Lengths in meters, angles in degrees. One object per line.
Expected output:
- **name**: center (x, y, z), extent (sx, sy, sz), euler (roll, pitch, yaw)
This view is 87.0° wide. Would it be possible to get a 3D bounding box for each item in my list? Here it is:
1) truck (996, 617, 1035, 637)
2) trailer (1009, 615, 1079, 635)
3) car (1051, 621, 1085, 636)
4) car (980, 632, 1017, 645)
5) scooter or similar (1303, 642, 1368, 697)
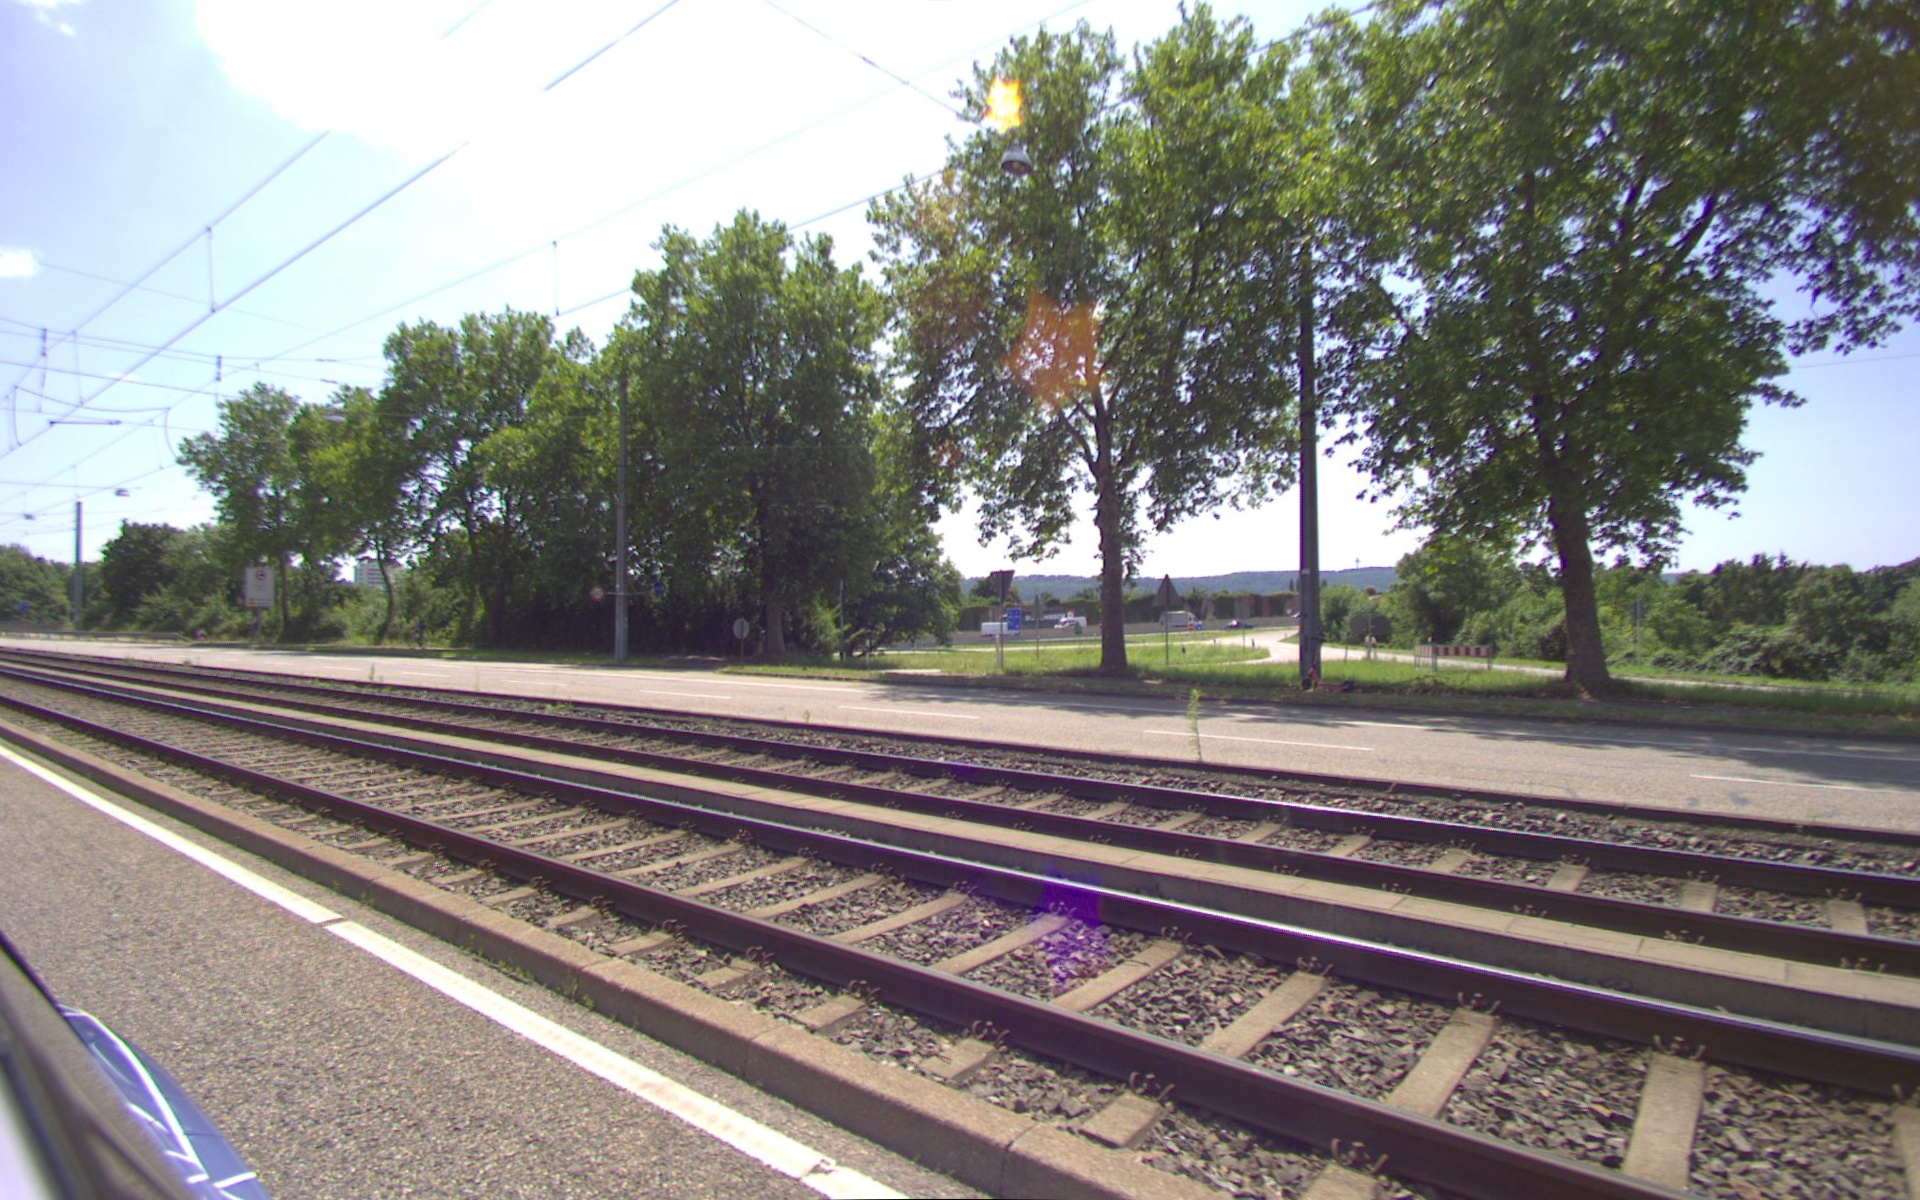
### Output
- **truck**: center (9.870, 4.766, 180.332), extent (6.035, 3.408, 3.340), euler (0, -2, -20)
- **trailer**: center (15.120, 4.503, 182.217), extent (12.165, 3.466, 3.348), euler (0, -2, -20)
- **car**: center (19.149, 5.089, 179.725), extent (5.475, 2.524, 2.229), euler (0, -2, -20)
- **car**: center (6.108, 6.104, 159.865), extent (5.490, 2.029, 2.006), euler (0, -2, -24)
- **scooter or similar**: center (8.186, 1.501, 22.105), extent (1.233, 1.159, 0.457), euler (-1, -1, 38)
